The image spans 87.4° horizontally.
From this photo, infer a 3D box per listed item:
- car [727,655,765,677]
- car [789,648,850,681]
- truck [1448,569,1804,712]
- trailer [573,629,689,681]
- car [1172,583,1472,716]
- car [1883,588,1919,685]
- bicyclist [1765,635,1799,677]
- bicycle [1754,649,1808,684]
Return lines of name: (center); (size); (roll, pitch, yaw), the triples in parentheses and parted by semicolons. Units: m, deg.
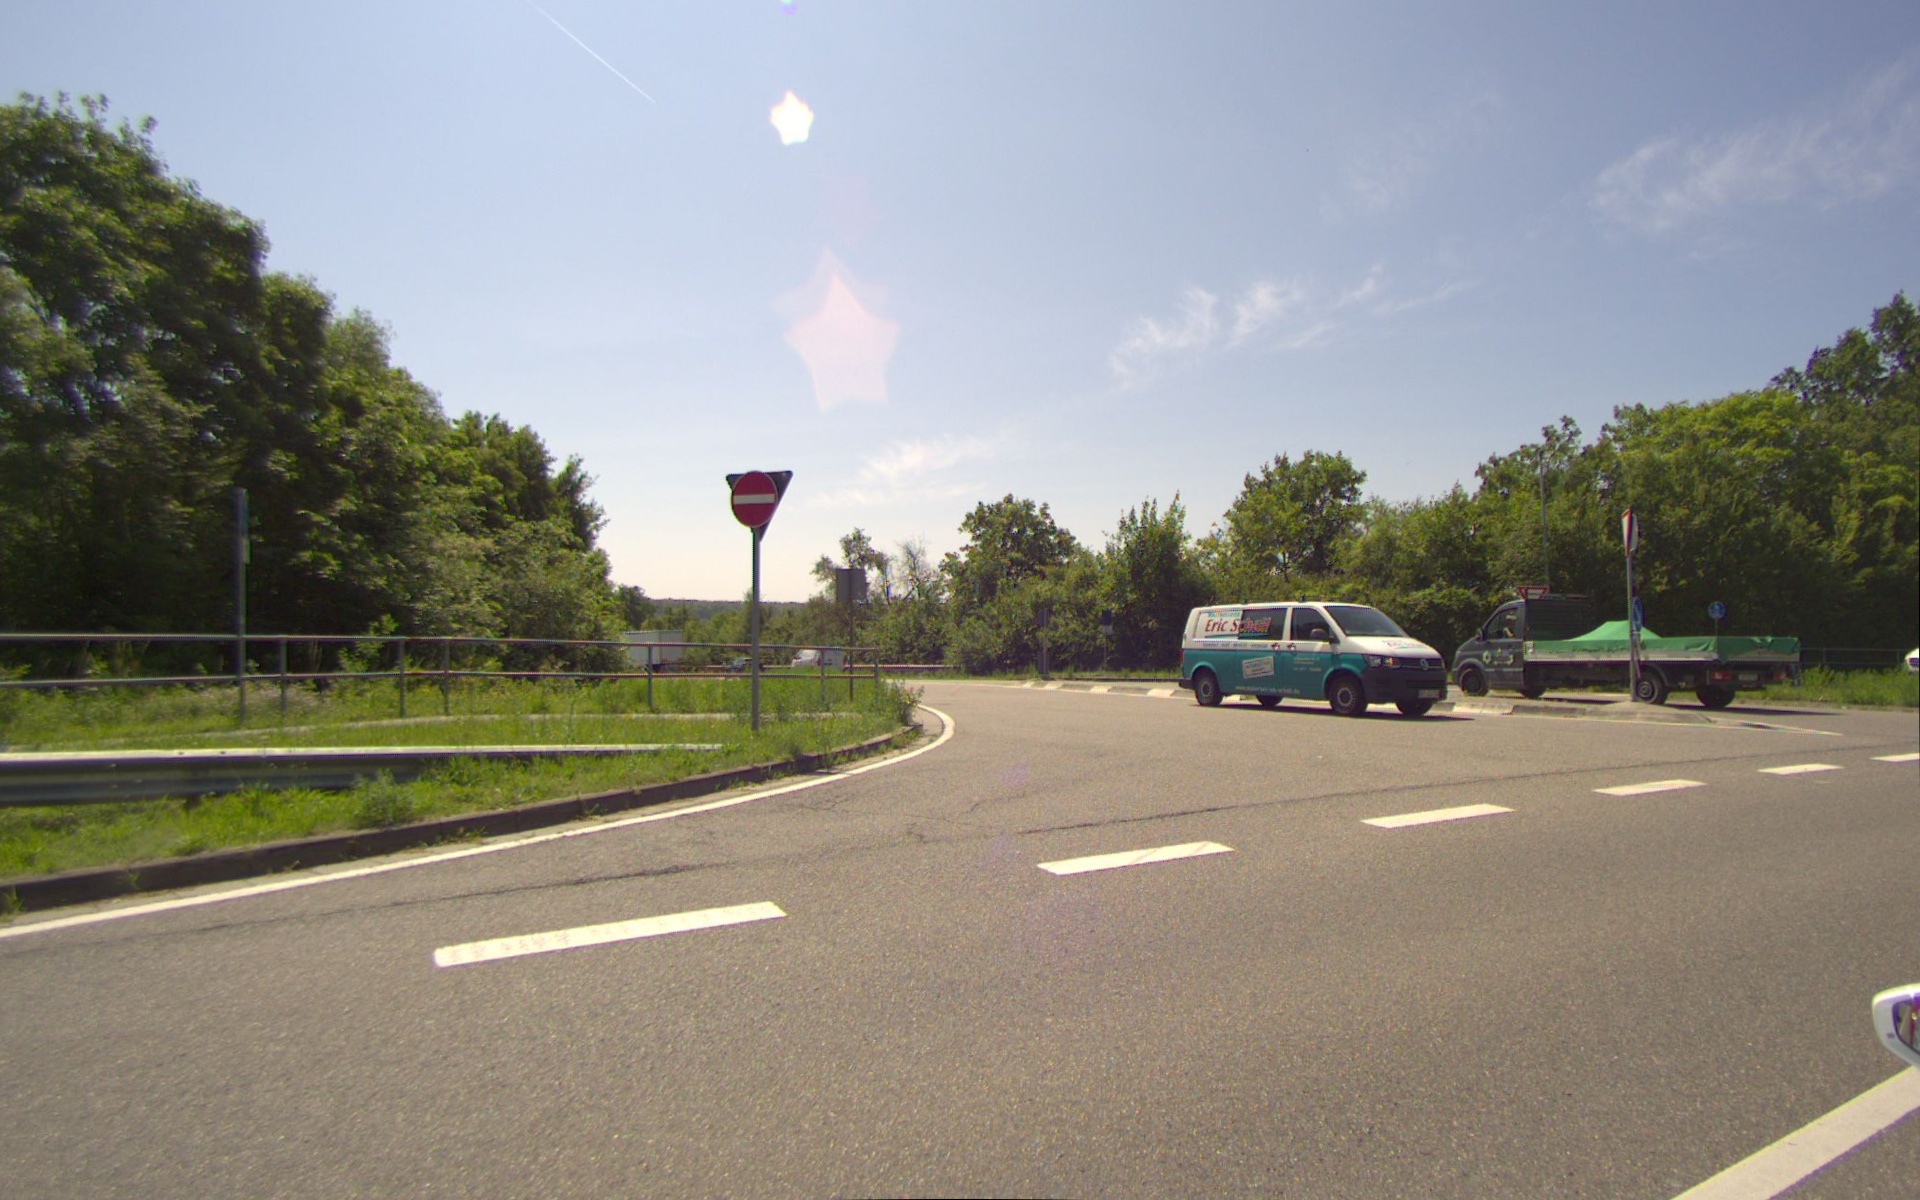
car: (-16.014, 4.942, 75.026); (1.748, 1.616, 3.901); (1, -4, -28)
car: (-8.684, 3.959, 61.663); (1.992, 1.948, 5.157); (1, -4, -29)
truck: (13.860, 0.929, 21.695); (2.111, 2.598, 6.619); (1, -3, -16)
trailer: (-30.011, 5.075, 91.034); (13.581, 4.331, 2.986); (-4, -3, 39)
car: (6.309, 0.947, 18.292); (1.974, 2.054, 5.154); (1, -4, -27)
car: (31.540, 1.150, 30.184); (5.897, 2.888, 2.111); (1, 0, -4)
bicyclist: (27.967, 1.909, 34.191); (0.597, 1.381, 0.690); (0, 0, 5)
bicycle: (27.938, 2.262, 34.191); (1.452, 1.128, 0.437); (0, -1, 4)
